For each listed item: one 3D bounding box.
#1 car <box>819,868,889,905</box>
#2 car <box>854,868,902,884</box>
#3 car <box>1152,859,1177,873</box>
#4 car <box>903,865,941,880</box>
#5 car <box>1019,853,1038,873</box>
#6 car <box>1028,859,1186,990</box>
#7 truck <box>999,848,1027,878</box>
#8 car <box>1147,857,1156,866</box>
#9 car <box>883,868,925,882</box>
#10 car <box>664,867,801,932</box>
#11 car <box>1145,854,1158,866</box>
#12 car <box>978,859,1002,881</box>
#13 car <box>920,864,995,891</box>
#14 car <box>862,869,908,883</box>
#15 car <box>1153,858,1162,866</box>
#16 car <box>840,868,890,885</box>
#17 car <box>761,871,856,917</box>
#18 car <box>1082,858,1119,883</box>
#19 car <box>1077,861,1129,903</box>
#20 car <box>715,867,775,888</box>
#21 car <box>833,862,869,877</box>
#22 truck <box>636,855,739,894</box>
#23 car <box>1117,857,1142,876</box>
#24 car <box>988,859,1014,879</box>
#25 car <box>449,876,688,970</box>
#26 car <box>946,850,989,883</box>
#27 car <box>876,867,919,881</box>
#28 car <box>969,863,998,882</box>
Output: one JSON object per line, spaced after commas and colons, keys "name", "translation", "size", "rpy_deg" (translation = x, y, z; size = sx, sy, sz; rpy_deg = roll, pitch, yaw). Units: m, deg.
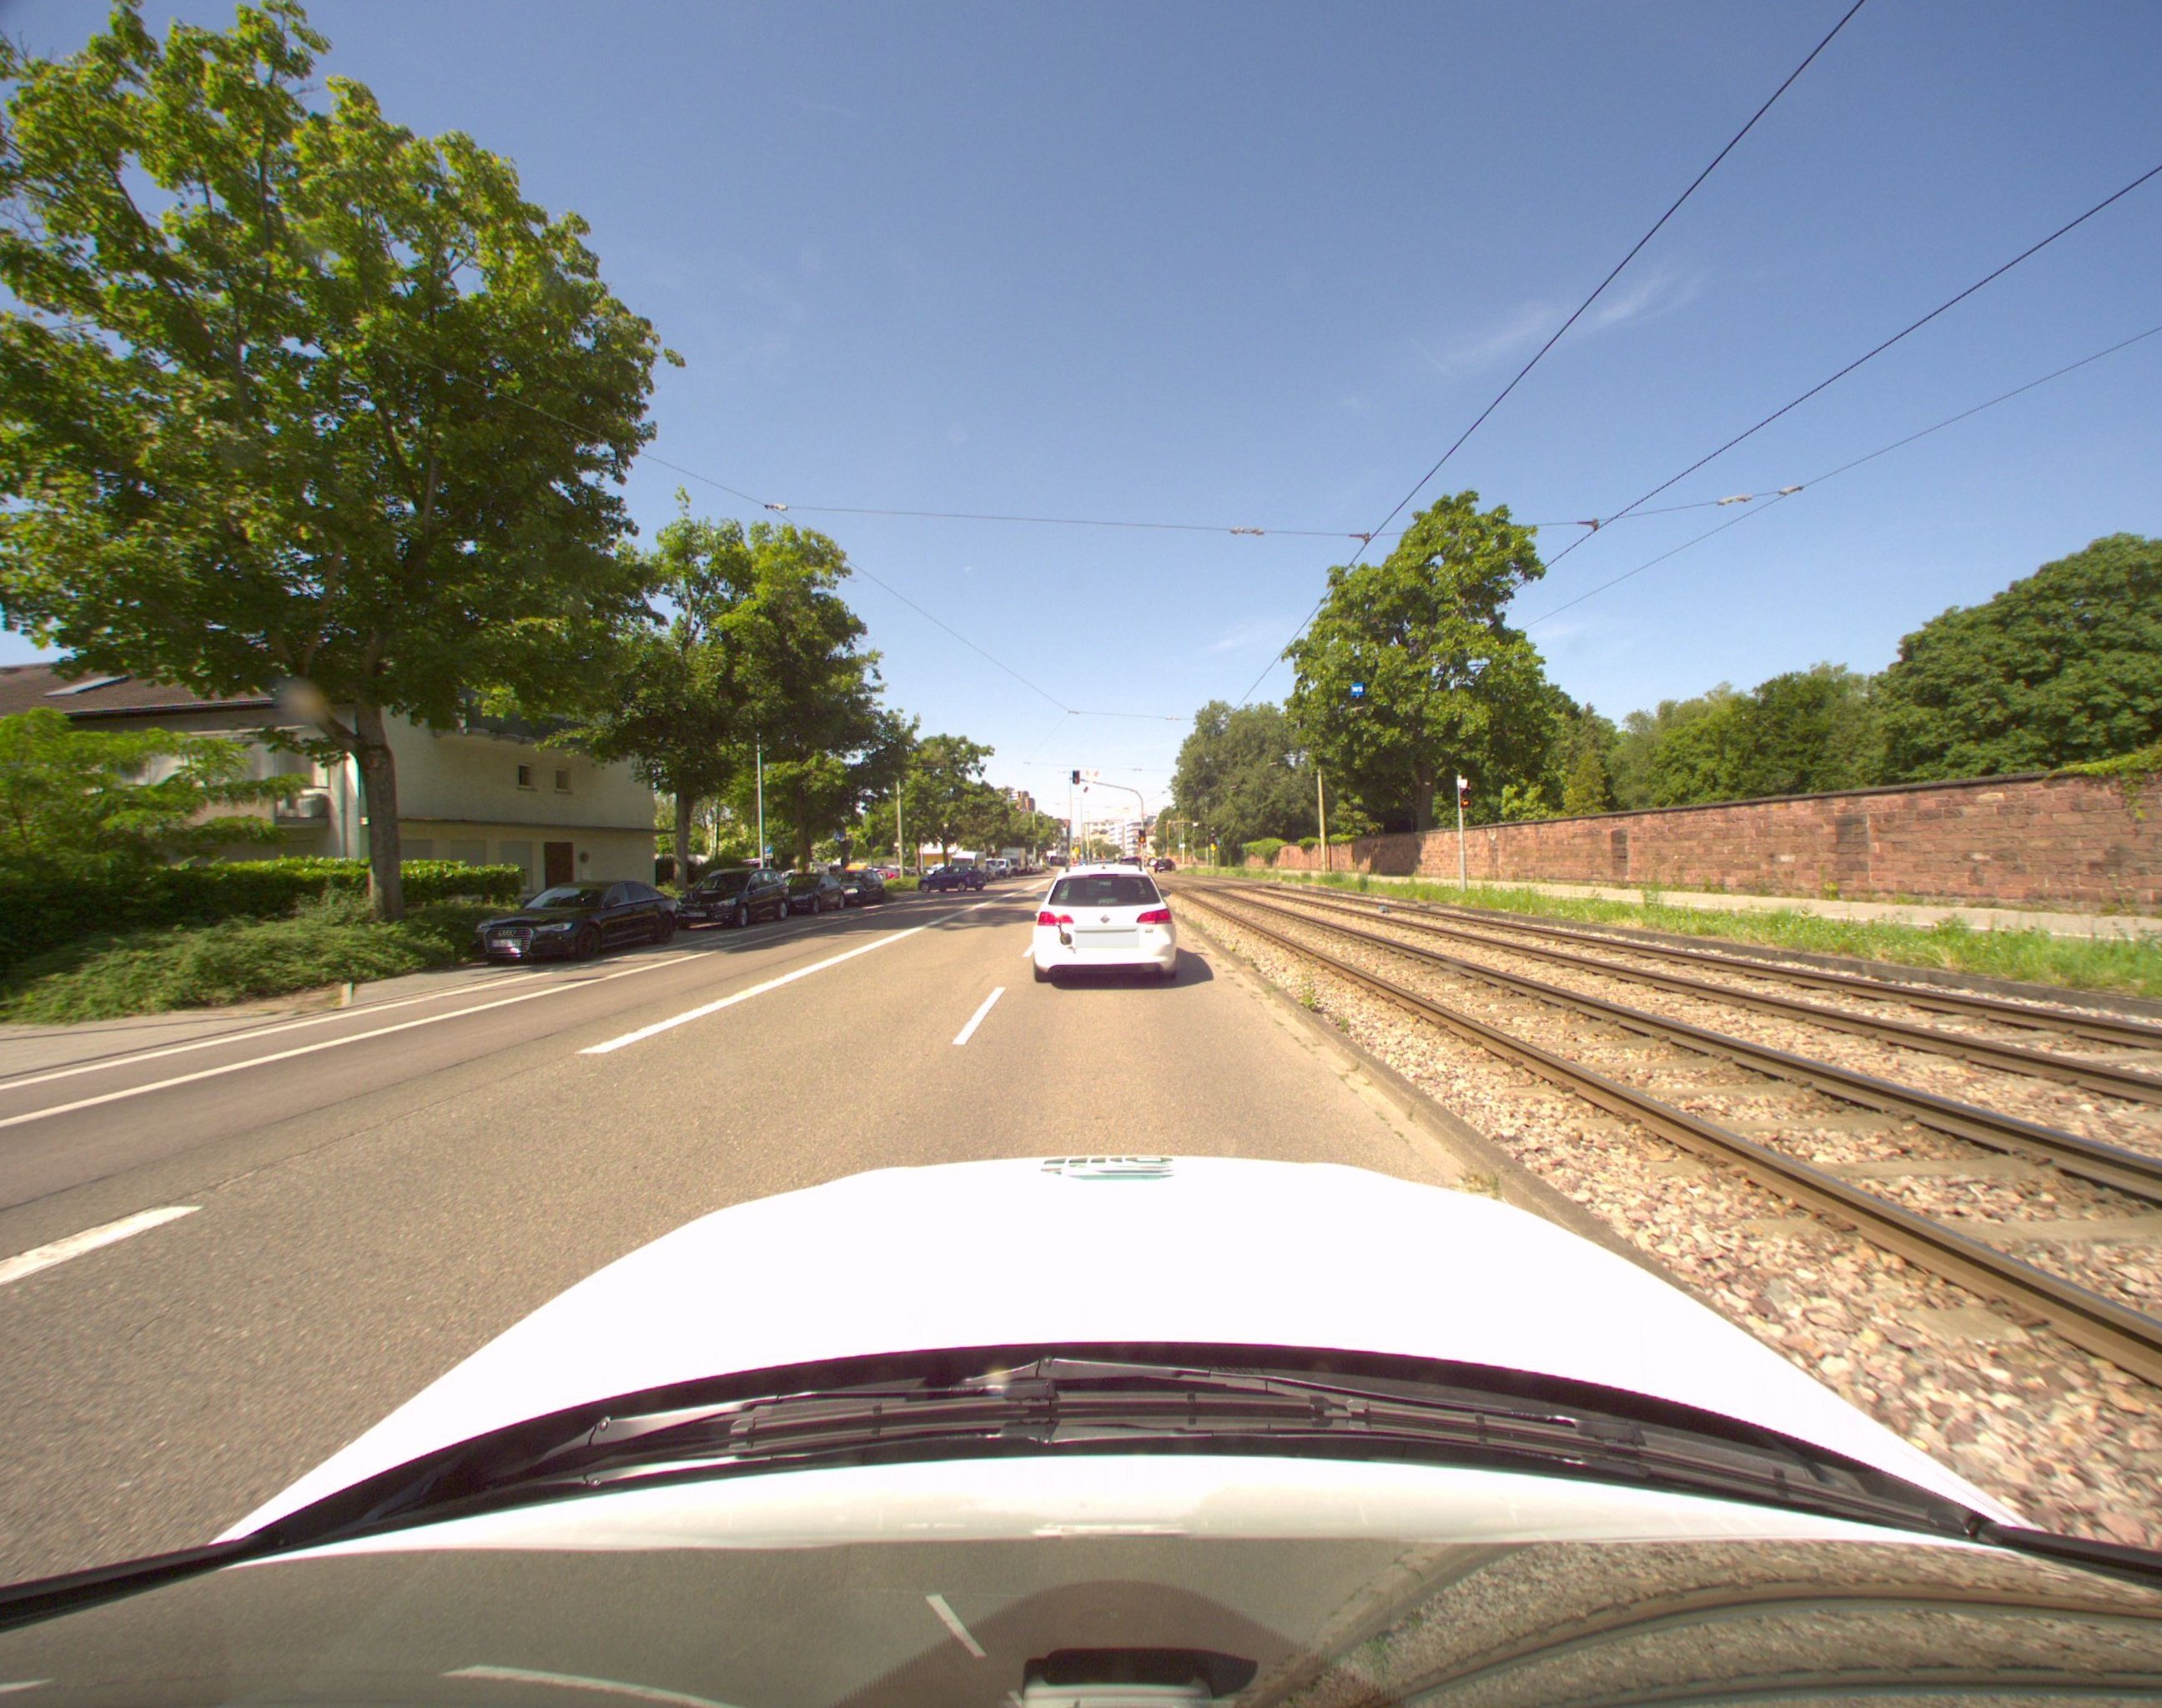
{"name": "car", "translation": [-9.448, 1.326, 34.209], "size": [1.635, 1.450, 4.006], "rpy_deg": [0, -1, 3]}
{"name": "car", "translation": [-18.970, 2.067, 76.141], "size": [3.969, 1.264, 1.773], "rpy_deg": [-2, 0, 4]}
{"name": "car", "translation": [8.541, 1.179, 83.485], "size": [1.732, 1.407, 3.931], "rpy_deg": [0, 0, 18]}
{"name": "car", "translation": [-18.201, 2.110, 93.305], "size": [3.969, 1.444, 1.773], "rpy_deg": [-2, -1, 4]}
{"name": "car", "translation": [-6.930, 1.198, 107.603], "size": [1.836, 2.494, 5.859], "rpy_deg": [-2, 0, 2]}
{"name": "car", "translation": [0.323, 0.802, 11.056], "size": [1.762, 1.446, 3.913], "rpy_deg": [0, 0, 1]}
{"name": "truck", "translation": [-7.659, 0.973, 92.100], "size": [2.348, 3.122, 6.892], "rpy_deg": [-2, 0, 1]}
{"name": "car", "translation": [14.298, 1.542, 165.949], "size": [1.685, 1.812, 3.455], "rpy_deg": [0, -1, 1]}
{"name": "car", "translation": [-18.603, 2.193, 85.623], "size": [3.969, 1.225, 1.773], "rpy_deg": [-2, 0, 4]}
{"name": "car", "translation": [-9.930, 1.223, 23.671], "size": [1.755, 1.606, 4.895], "rpy_deg": [-1, 0, 1]}
{"name": "car", "translation": [15.158, 1.265, 174.498], "size": [2.454, 2.499, 5.911], "rpy_deg": [0, -1, 1]}
{"name": "car", "translation": [-8.605, 1.448, 77.246], "size": [1.839, 1.937, 5.189], "rpy_deg": [-2, 0, -2]}
{"name": "car", "translation": [-6.842, 1.302, 45.041], "size": [3.862, 1.407, 1.763], "rpy_deg": [-2, 0, 31]}
{"name": "car", "translation": [-18.884, 2.121, 78.597], "size": [3.969, 1.225, 1.773], "rpy_deg": [-2, 0, 4]}
{"name": "car", "translation": [14.211, 1.489, 151.591], "size": [1.576, 1.346, 3.455], "rpy_deg": [0, -1, 1]}
{"name": "car", "translation": [-19.500, 2.030, 73.574], "size": [3.969, 1.350, 1.773], "rpy_deg": [-2, 0, 4]}
{"name": "car", "translation": [-9.722, 1.379, 29.436], "size": [1.684, 1.379, 4.784], "rpy_deg": [-2, 0, 1]}
{"name": "car", "translation": [1.225, 0.962, 49.395], "size": [1.852, 1.416, 4.332], "rpy_deg": [0, 0, 6]}
{"name": "car", "translation": [0.781, 0.945, 29.264], "size": [1.739, 1.388, 3.914], "rpy_deg": [0, 0, 1]}
{"name": "car", "translation": [-31.456, 2.197, 76.359], "size": [4.683, 2.014, 1.997], "rpy_deg": [0, -1, -4]}
{"name": "car", "translation": [-30.714, 2.115, 109.009], "size": [4.249, 2.014, 1.997], "rpy_deg": [0, -1, -5]}
{"name": "truck", "translation": [-31.807, 1.650, 65.982], "size": [7.119, 3.019, 2.231], "rpy_deg": [1, -1, -1]}
{"name": "car", "translation": [3.999, 0.987, 67.026], "size": [1.852, 1.513, 3.919], "rpy_deg": [0, 0, 6]}
{"name": "car", "translation": [-8.174, 1.481, 83.364], "size": [1.836, 1.960, 5.136], "rpy_deg": [-2, 0, 2]}
{"name": "car", "translation": [-10.072, 1.252, 16.579], "size": [1.835, 1.465, 4.907], "rpy_deg": [-2, 0, -2]}
{"name": "car", "translation": [-8.861, 0.935, 64.164], "size": [2.049, 2.501, 6.314], "rpy_deg": [1, 0, 4]}
{"name": "car", "translation": [-18.796, 2.030, 83.509], "size": [3.969, 1.225, 1.773], "rpy_deg": [-2, 0, 4]}
{"name": "car", "translation": [-8.326, 1.571, 70.038], "size": [1.837, 1.516, 4.198], "rpy_deg": [-2, 0, 2]}
